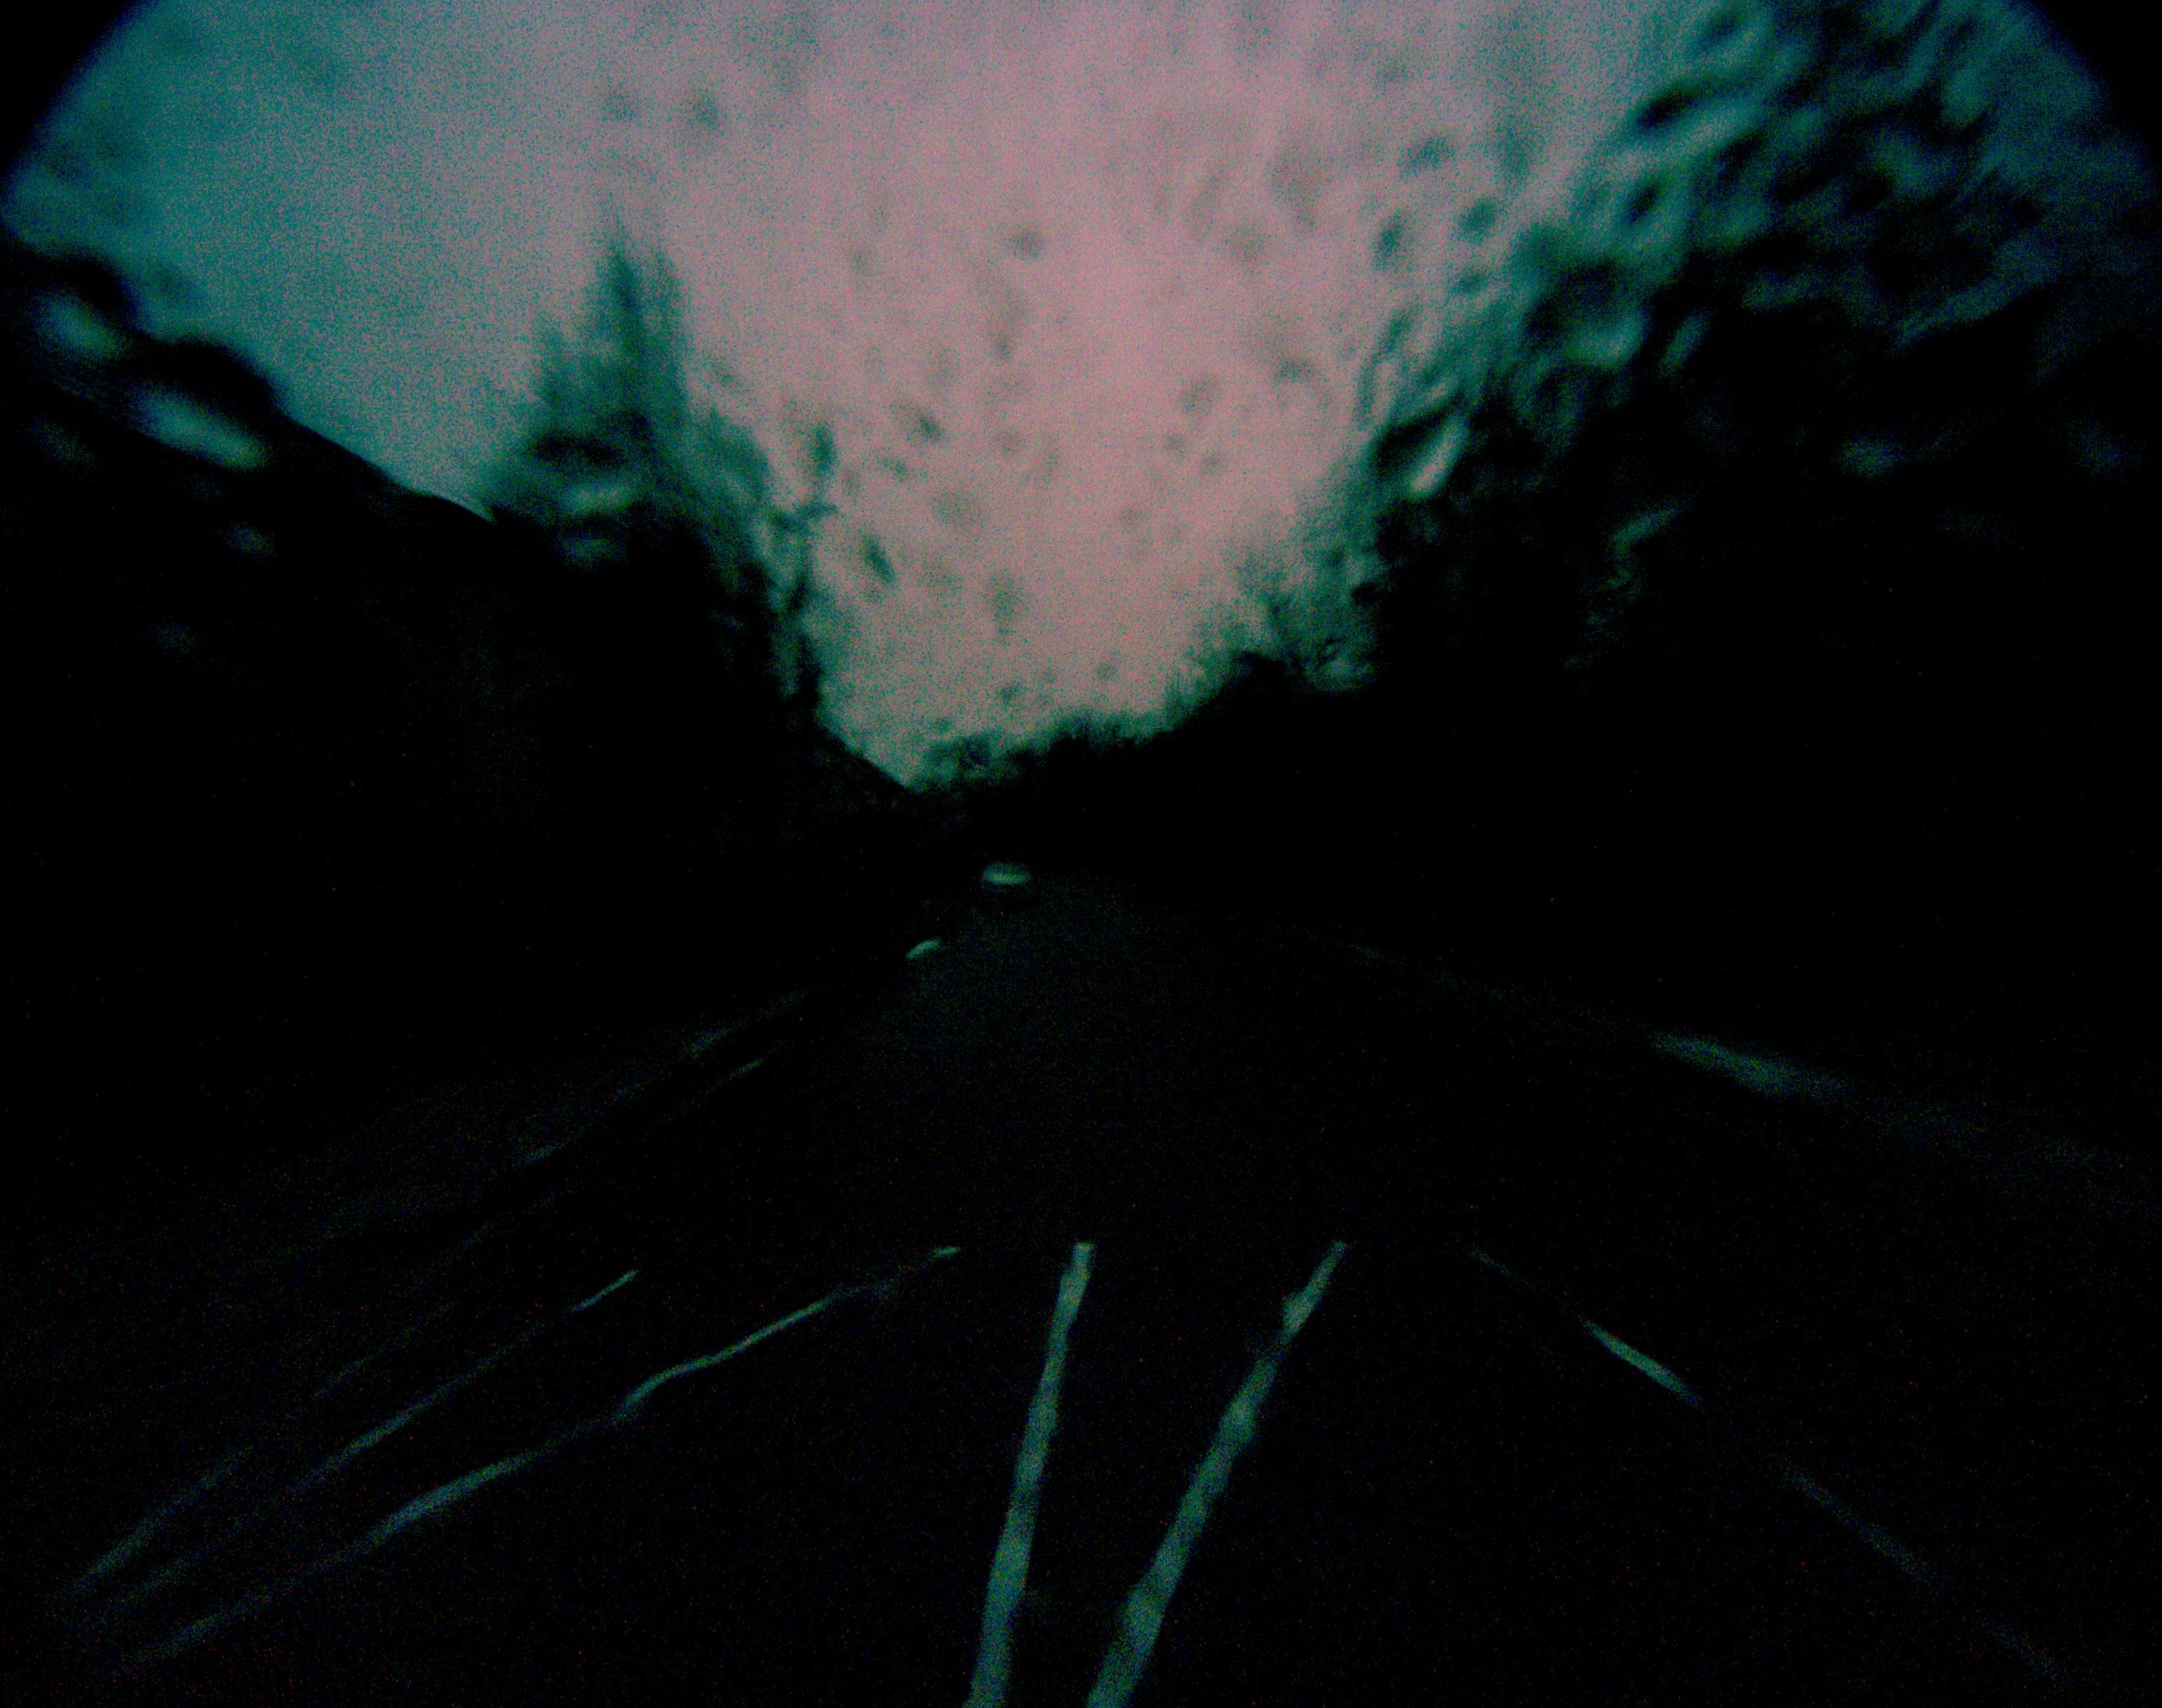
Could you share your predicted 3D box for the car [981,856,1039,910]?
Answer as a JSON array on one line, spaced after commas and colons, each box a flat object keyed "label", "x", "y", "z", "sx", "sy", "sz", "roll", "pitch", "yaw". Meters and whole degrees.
[{"label": "car", "x": -2.357, "y": 0.881, "z": 25.124, "sx": 1.709, "sy": 1.497, "sz": 4.022, "roll": -2, "pitch": 1, "yaw": -6}]

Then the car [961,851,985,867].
[{"label": "car", "x": -10.908, "y": 0.502, "z": 76.593, "sx": 1.744, "sy": 1.421, "sz": 4.450, "roll": -3, "pitch": 1, "yaw": -15}]
